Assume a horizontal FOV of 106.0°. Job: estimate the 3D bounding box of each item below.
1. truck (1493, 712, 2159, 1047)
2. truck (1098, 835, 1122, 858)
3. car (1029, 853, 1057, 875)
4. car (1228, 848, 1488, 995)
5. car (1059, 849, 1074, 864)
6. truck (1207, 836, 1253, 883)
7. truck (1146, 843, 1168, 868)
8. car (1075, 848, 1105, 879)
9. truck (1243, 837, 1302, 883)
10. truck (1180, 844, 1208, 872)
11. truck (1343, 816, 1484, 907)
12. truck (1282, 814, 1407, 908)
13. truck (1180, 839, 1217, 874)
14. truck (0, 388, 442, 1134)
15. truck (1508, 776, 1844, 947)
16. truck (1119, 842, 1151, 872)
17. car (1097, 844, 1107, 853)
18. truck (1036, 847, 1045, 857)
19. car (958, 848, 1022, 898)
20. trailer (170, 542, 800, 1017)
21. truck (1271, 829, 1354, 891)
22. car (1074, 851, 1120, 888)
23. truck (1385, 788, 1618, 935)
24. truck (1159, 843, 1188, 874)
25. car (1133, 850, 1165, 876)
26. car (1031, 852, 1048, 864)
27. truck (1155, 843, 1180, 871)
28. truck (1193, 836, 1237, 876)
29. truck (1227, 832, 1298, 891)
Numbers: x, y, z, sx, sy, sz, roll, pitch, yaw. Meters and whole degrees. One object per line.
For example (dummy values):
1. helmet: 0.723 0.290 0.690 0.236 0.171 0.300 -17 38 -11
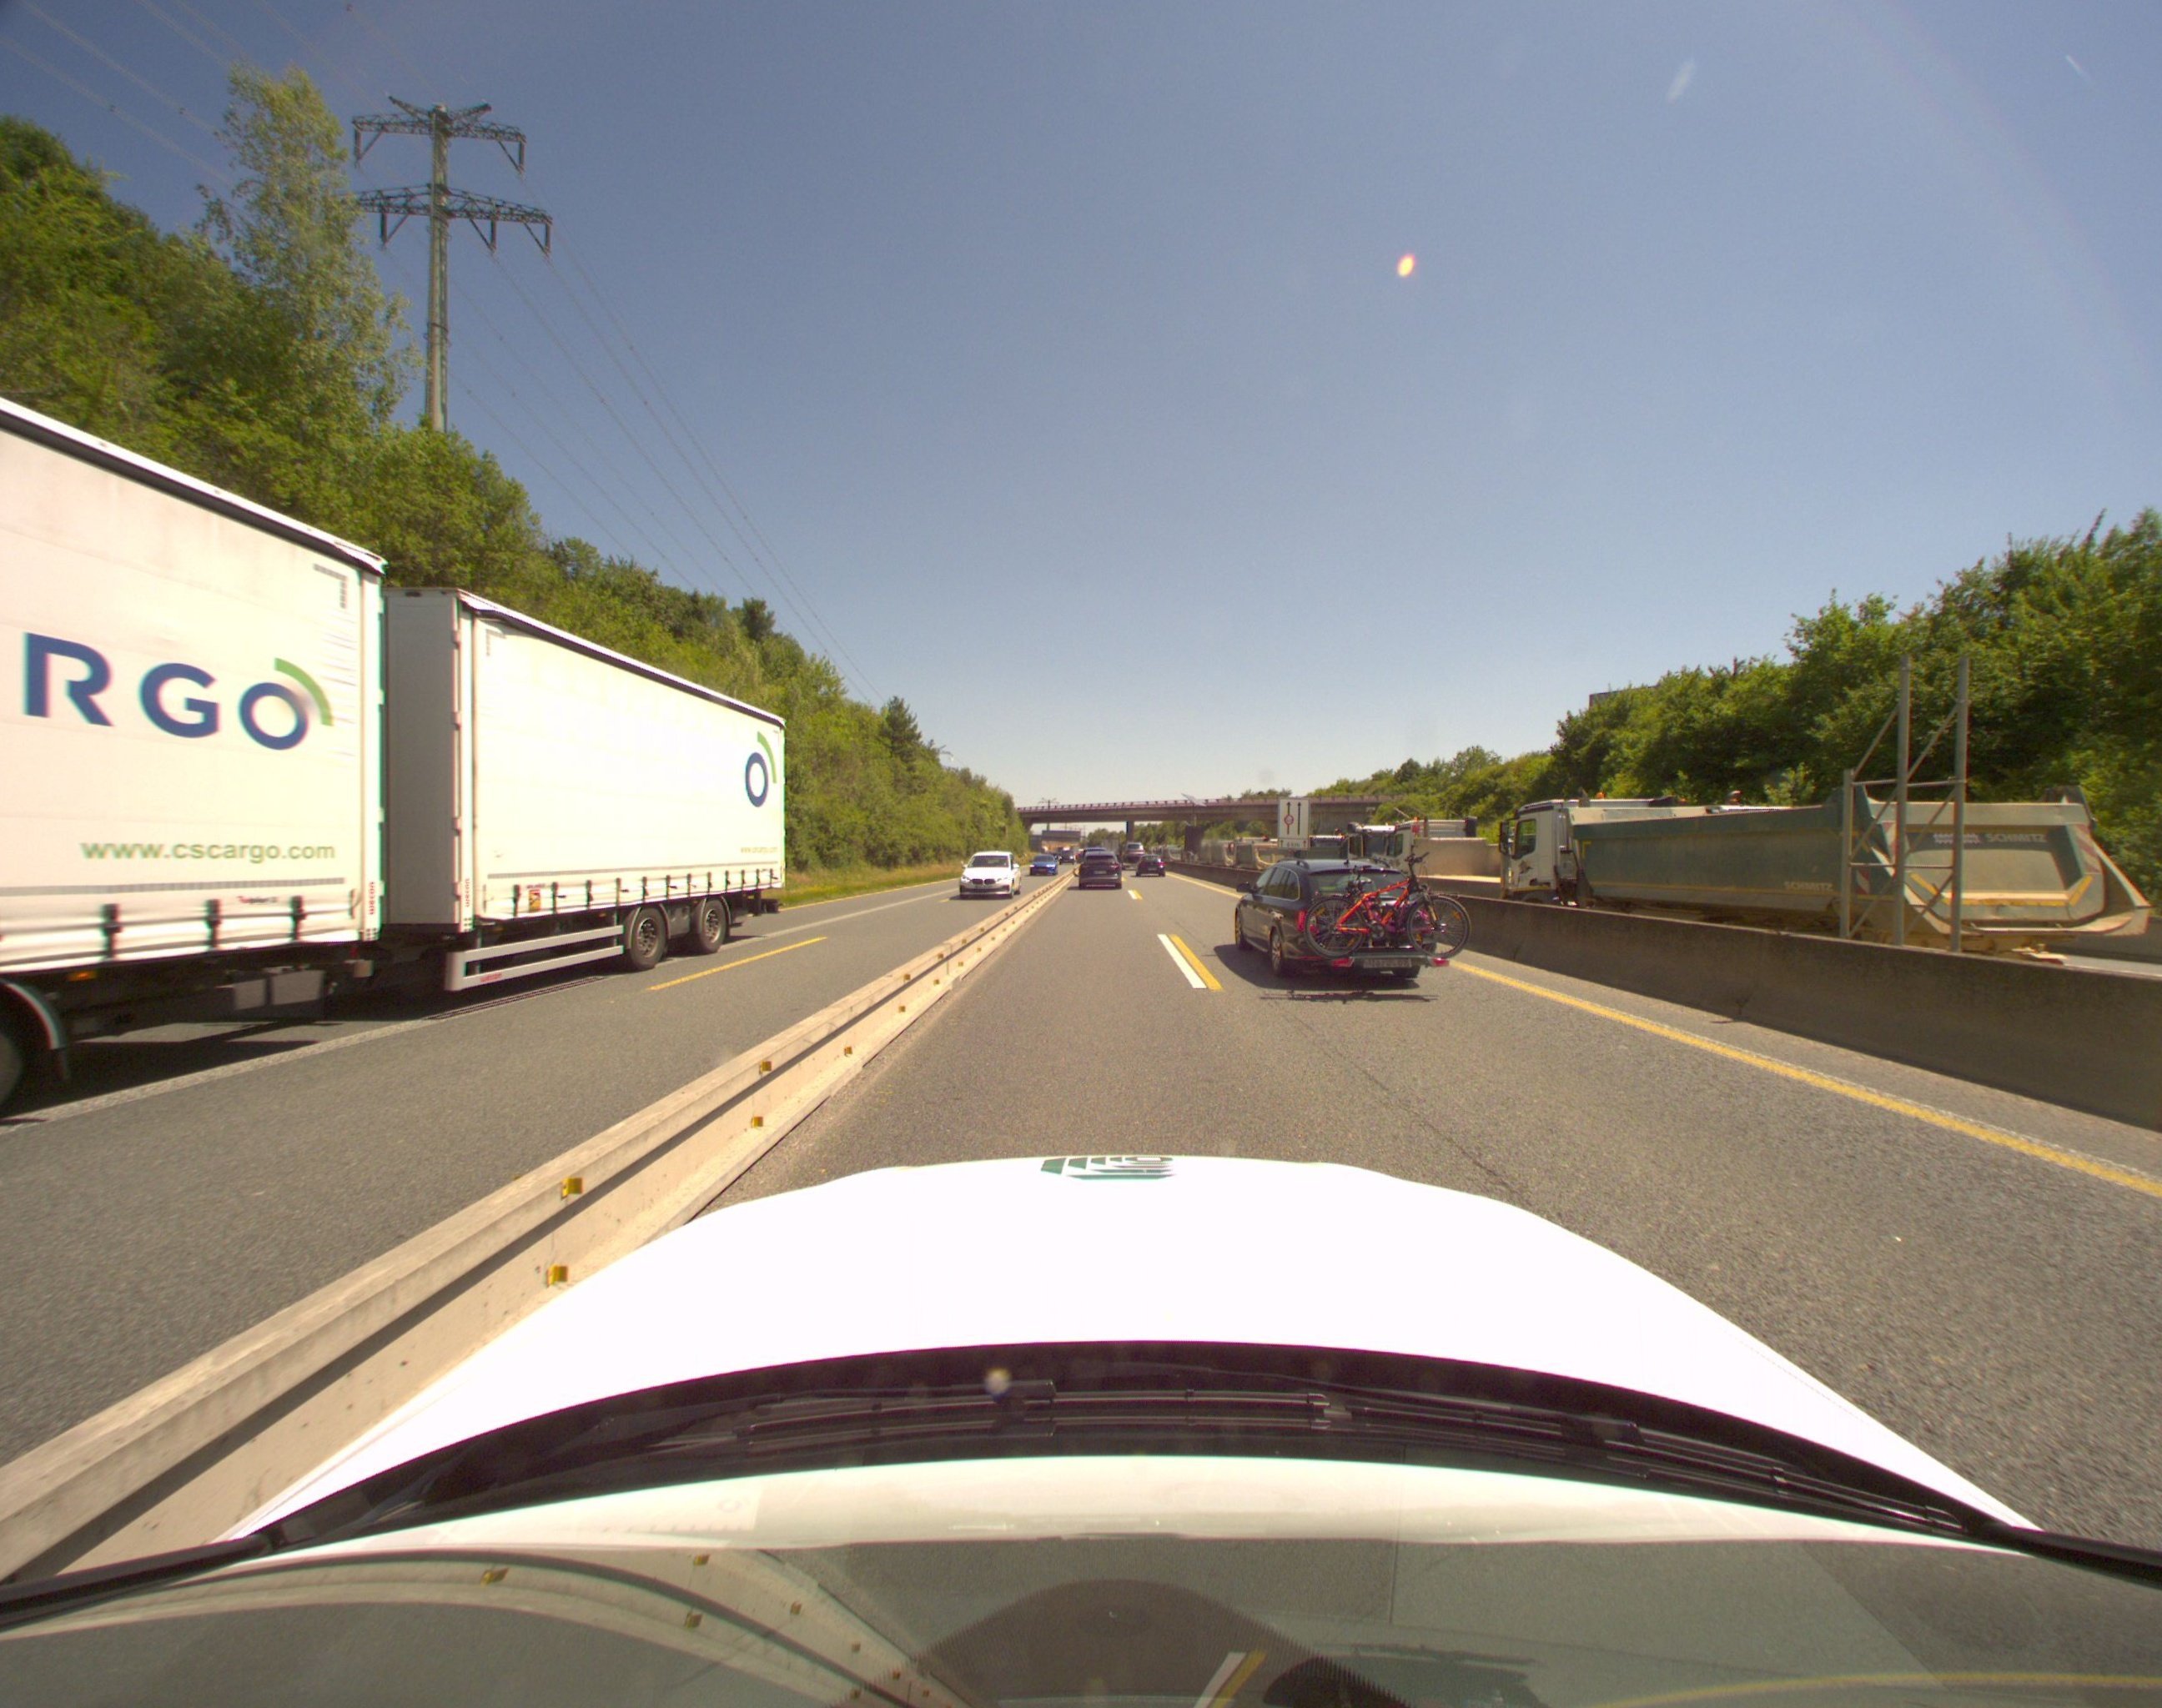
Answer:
1. truck: 10.105 0.257 13.081 2.524 3.511 9.098 0 0 1
2. truck: 4.975 -1.301 142.749 3.286 3.845 10.095 0 0 -4
3. car: -2.599 0.675 56.666 1.707 1.425 4.170 0 0 0
4. car: 3.256 0.698 10.740 1.892 1.490 4.949 0 0 2
5. car: -1.915 0.331 109.674 1.884 2.013 4.819 0 0 2
6. truck: 11.904 0.385 65.935 2.675 3.557 9.416 0 0 4
7. truck: 12.032 0.267 129.153 2.678 3.843 9.325 0 0 1
8. car: 0.653 0.596 54.511 1.892 1.968 4.278 0 0 2
9. truck: 14.828 0.427 63.906 2.677 3.377 9.607 0 0 2
10. truck: 15.713 0.466 113.524 2.678 3.726 9.324 0 0 0
11. truck: 14.643 0.283 36.871 2.677 3.557 9.605 0 0 1
12. truck: 11.137 0.251 35.573 2.529 3.557 9.604 0 0 1
13. truck: 12.359 0.232 86.272 2.678 3.557 9.324 0 0 0
14. truck: -7.029 -0.500 2.090 2.401 3.992 10.354 1 0 1
15. truck: 14.446 0.150 20.971 2.678 3.511 8.381 0 0 1
16. truck: 4.739 0.239 72.997 2.398 2.558 7.499 0 0 0
17. car: 4.633 -1.139 177.910 1.894 1.968 4.272 0 0 -2
18. truck: -12.759 -0.620 254.631 2.503 3.186 10.095 0 0 -4
19. car: -3.139 0.640 28.868 1.756 1.632 4.297 0 0 1
20. trailer: -6.899 -0.697 11.661 2.628 4.312 8.449 1 0 1
21. truck: 14.464 0.323 51.674 2.678 3.557 9.604 0 0 1
22. car: 0.728 0.625 35.517 1.892 1.505 4.278 0 0 2
23. truck: 11.697 0.164 23.905 2.523 3.511 8.948 0 0 2
24. truck: 11.857 0.548 104.922 2.678 3.761 9.325 0 0 1
25. car: 4.362 0.554 52.824 1.892 1.585 4.278 0 0 2
26. car: -5.327 0.527 105.649 1.786 1.525 4.533 0 0 2
27. truck: 12.375 0.391 116.550 2.678 3.856 9.325 0 0 1
28. truck: 12.609 0.195 77.438 2.678 3.557 9.324 0 0 0
29. truck: 11.740 0.429 53.606 2.677 3.557 9.605 0 0 1
